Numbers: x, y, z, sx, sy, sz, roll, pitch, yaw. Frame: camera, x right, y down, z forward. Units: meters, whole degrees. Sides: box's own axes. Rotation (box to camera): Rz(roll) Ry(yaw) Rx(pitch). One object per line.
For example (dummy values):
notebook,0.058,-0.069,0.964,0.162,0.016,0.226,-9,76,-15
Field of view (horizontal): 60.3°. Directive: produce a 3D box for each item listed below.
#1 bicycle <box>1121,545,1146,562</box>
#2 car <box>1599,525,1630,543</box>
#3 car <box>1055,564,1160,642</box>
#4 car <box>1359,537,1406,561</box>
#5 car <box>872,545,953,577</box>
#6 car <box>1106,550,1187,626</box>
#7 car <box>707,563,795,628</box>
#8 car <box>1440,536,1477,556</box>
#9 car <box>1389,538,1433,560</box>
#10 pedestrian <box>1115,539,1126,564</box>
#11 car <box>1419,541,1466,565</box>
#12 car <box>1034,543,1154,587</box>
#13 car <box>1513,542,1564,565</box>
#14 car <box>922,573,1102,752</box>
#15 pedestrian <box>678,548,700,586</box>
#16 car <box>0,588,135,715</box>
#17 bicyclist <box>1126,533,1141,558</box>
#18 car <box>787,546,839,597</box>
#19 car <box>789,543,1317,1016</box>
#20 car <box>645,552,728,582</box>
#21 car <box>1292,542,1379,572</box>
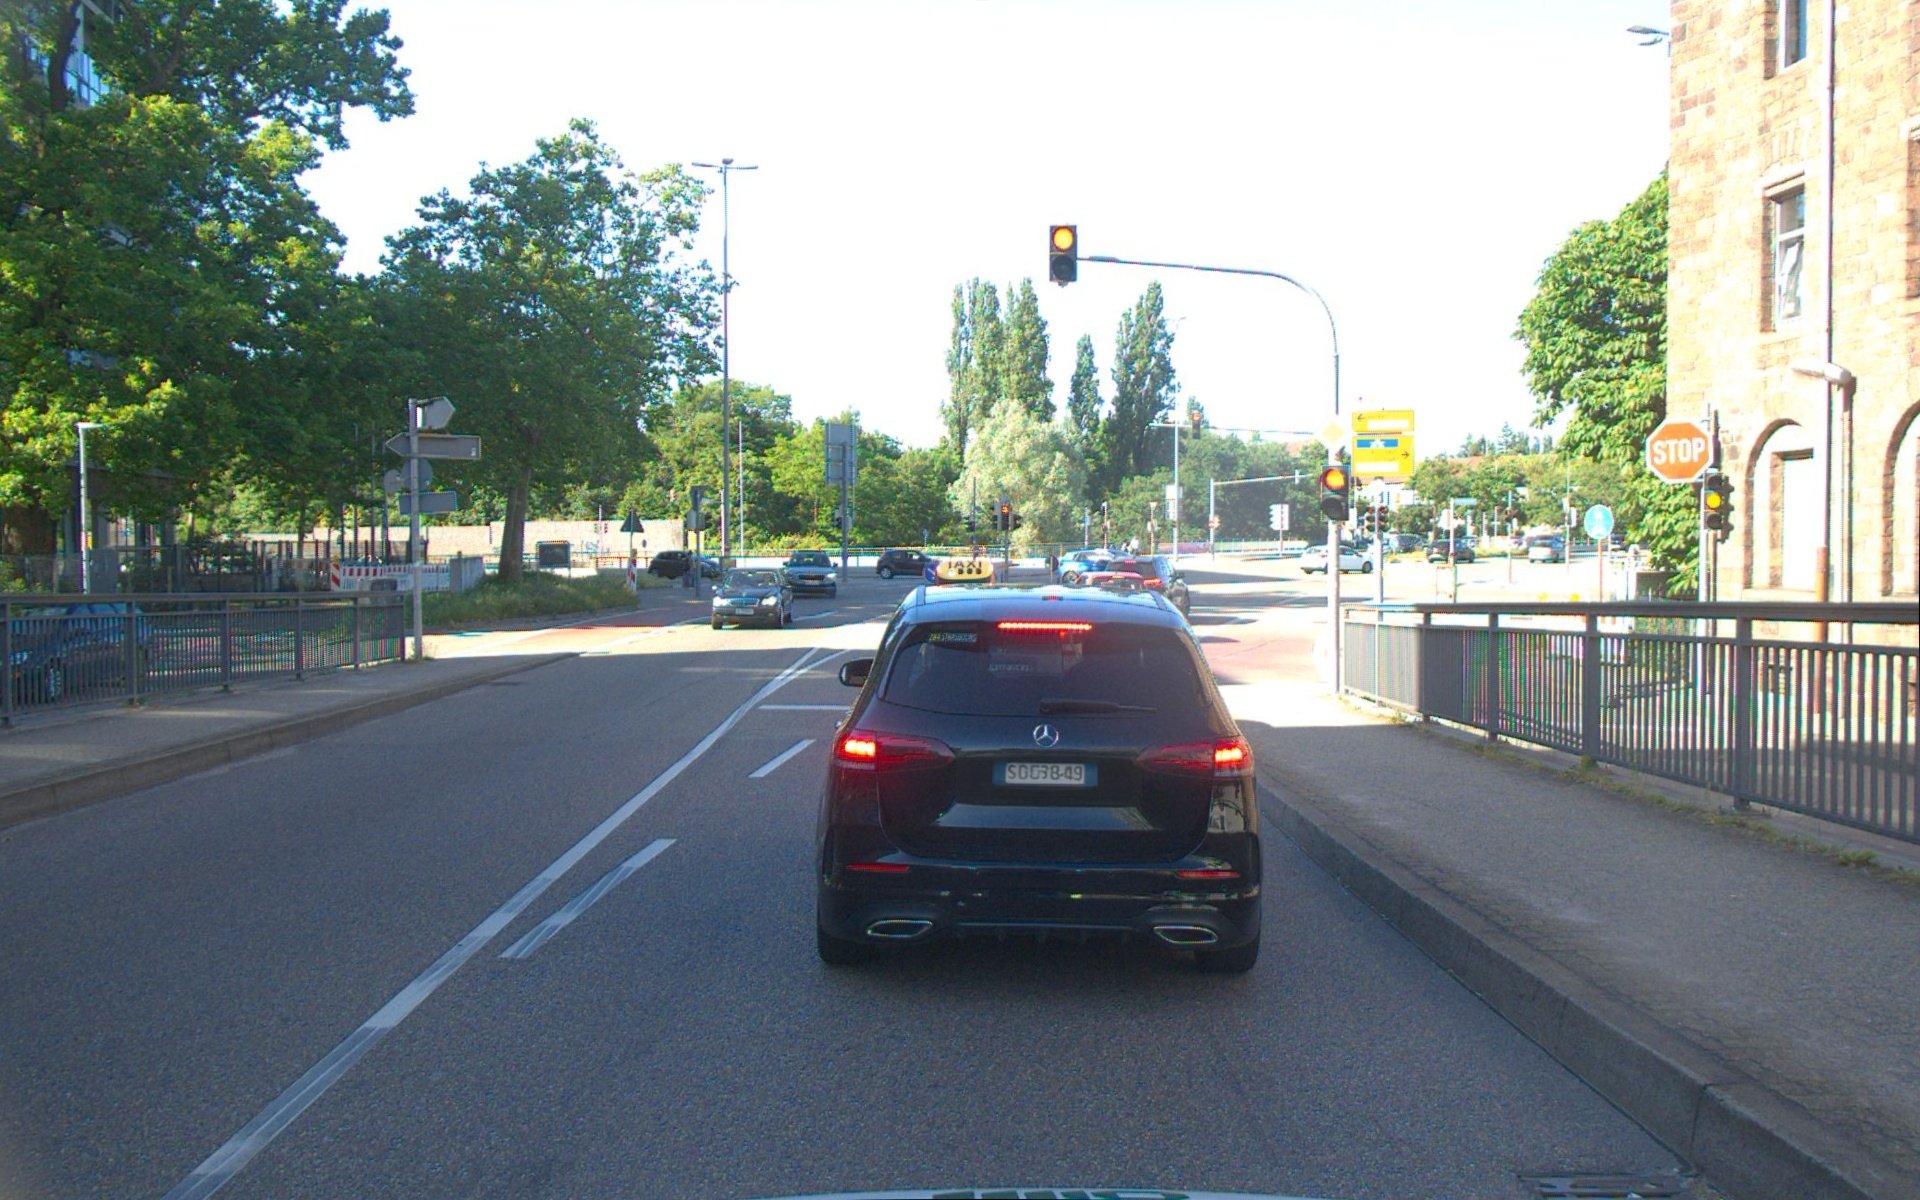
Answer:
bicycle,11.058,-2.980,105.486,0.517,1.068,1.979,0,2,40
car,54.750,-5.524,138.311,1.749,1.381,4.068,0,3,32
car,3.254,0.021,37.179,1.688,1.548,3.482,0,3,-7
car,29.434,-3.532,115.161,1.846,1.605,3.987,1,2,35
car,-2.446,-1.996,85.261,3.902,1.574,1.892,1,0,8
car,5.123,-0.377,45.025,1.685,1.843,4.302,1,3,13
car,-5.148,-0.150,41.186,1.706,1.431,4.201,-1,2,-1
car,42.599,-4.635,141.298,1.846,1.605,3.987,1,2,35
car,32.837,-3.718,120.370,1.846,1.605,3.987,1,2,35
pedestrian,10.620,-3.203,109.405,0.443,1.613,0.499,0,2,40
car,30.243,-2.945,103.569,1.845,1.317,4.587,0,3,30
car,5.222,-1.401,64.588,4.313,1.619,1.916,1,3,35
car,36.761,-2.948,105.017,1.959,1.317,4.581,1,3,34
car,0.514,0.538,16.718,1.606,1.556,3.475,-1,2,1
pedestrian,-11.112,-1.358,67.834,0.690,1.552,0.744,1,1,10
car,-14.767,0.728,25.792,1.814,1.722,4.000,0,2,-1
bicyclist,11.058,-3.457,105.464,0.518,1.578,0.803,0,2,41
car,-5.257,-1.056,59.082,1.769,1.651,3.996,1,3,-6
car,0.302,0.608,7.827,1.839,1.641,4.000,1,1,-1
car,-13.899,-1.673,84.146,3.904,1.524,1.745,0,0,2
car,19.588,-2.266,86.324,4.255,1.389,1.981,-3,3,-30
